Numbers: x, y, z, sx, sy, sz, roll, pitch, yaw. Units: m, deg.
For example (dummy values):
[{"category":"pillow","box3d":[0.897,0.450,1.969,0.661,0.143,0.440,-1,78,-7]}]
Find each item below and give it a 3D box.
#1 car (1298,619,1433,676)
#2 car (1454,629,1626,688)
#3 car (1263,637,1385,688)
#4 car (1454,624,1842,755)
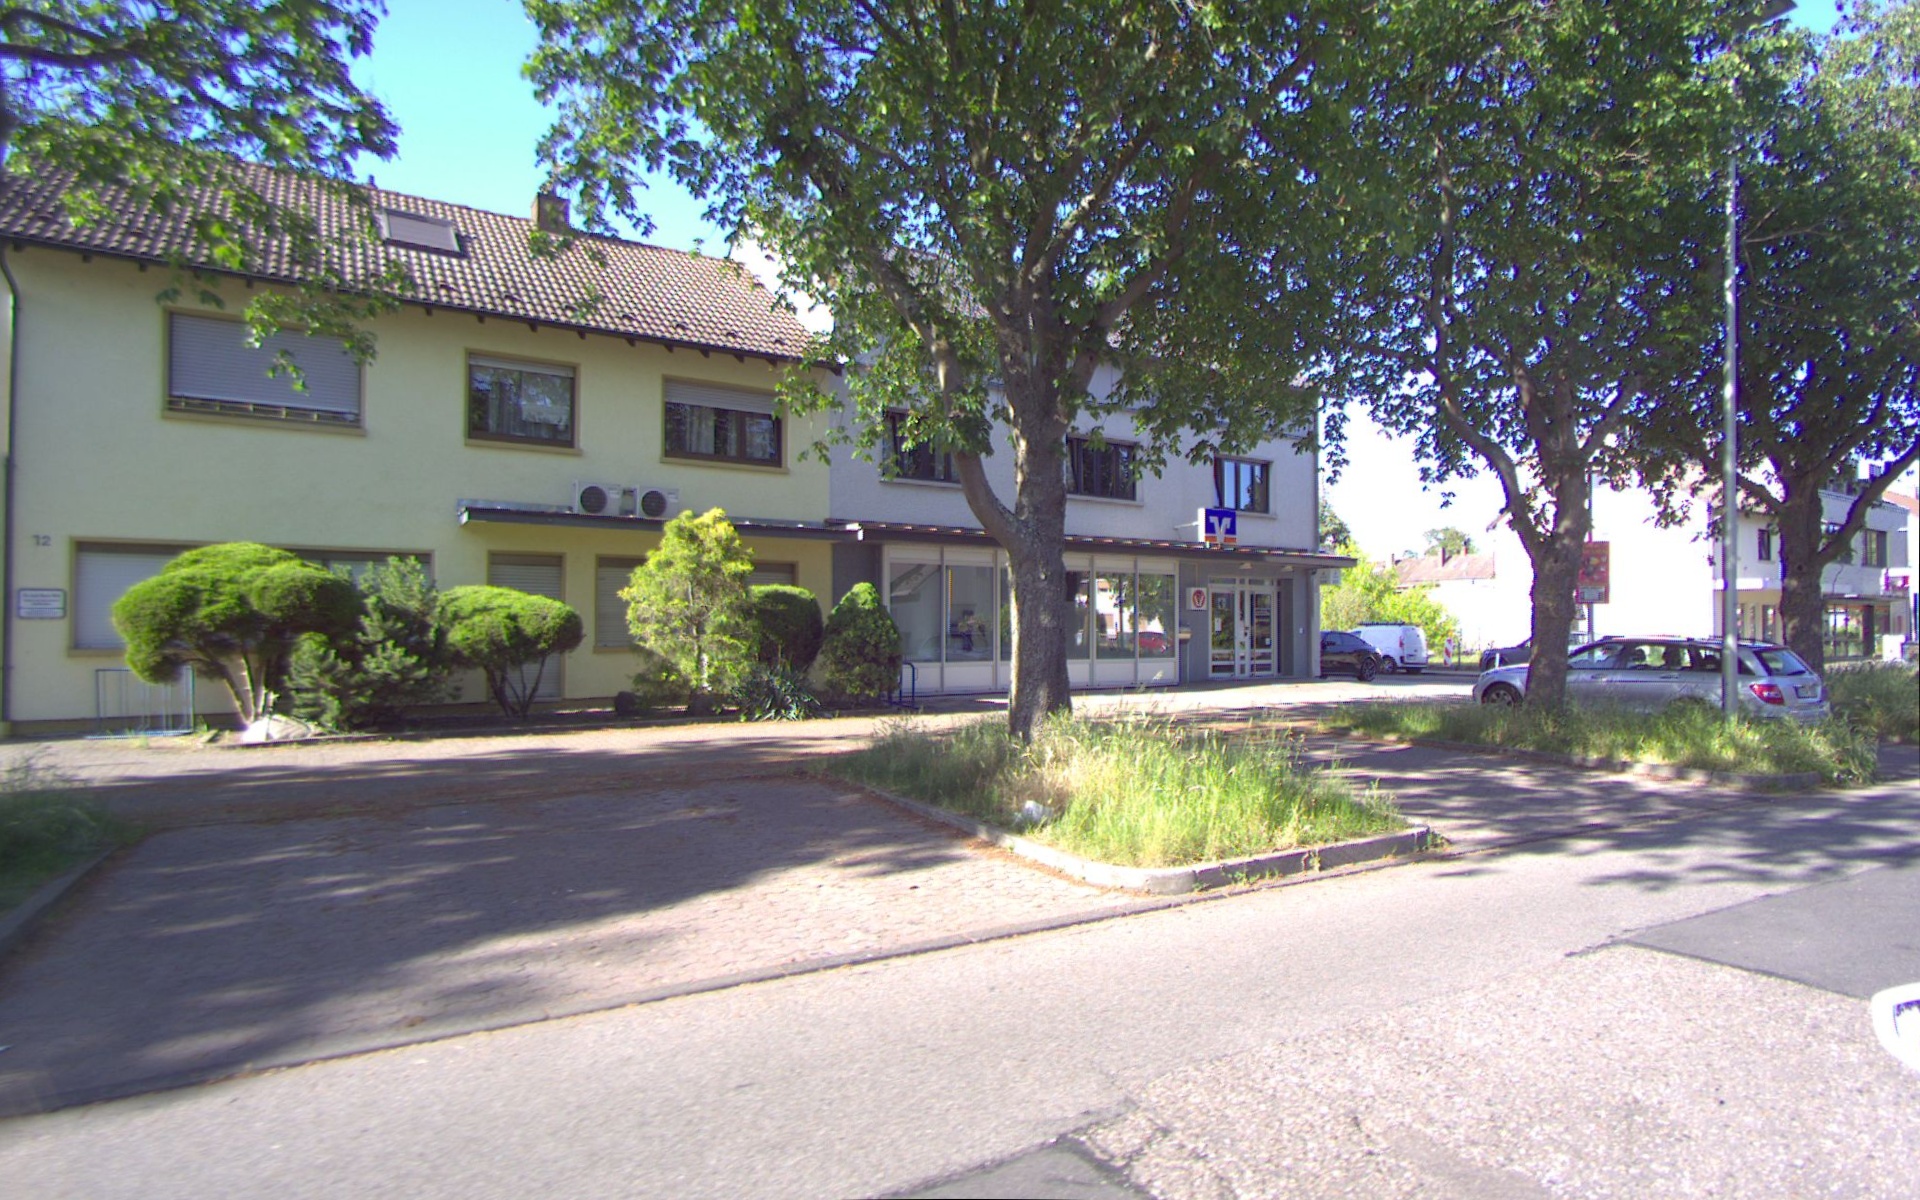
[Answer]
[{"category":"car","box3d":[15.547,1.750,38.740,1.978,1.953,4.528,-1,0,-33]},{"category":"car","box3d":[18.994,1.845,33.090,1.978,1.639,4.528,-1,0,-33]},{"category":"car","box3d":[10.677,1.797,29.397,3.470,1.253,1.533,-1,0,-31]},{"category":"car","box3d":[10.091,1.194,15.165,1.819,1.531,4.534,-1,0,-29]}]
